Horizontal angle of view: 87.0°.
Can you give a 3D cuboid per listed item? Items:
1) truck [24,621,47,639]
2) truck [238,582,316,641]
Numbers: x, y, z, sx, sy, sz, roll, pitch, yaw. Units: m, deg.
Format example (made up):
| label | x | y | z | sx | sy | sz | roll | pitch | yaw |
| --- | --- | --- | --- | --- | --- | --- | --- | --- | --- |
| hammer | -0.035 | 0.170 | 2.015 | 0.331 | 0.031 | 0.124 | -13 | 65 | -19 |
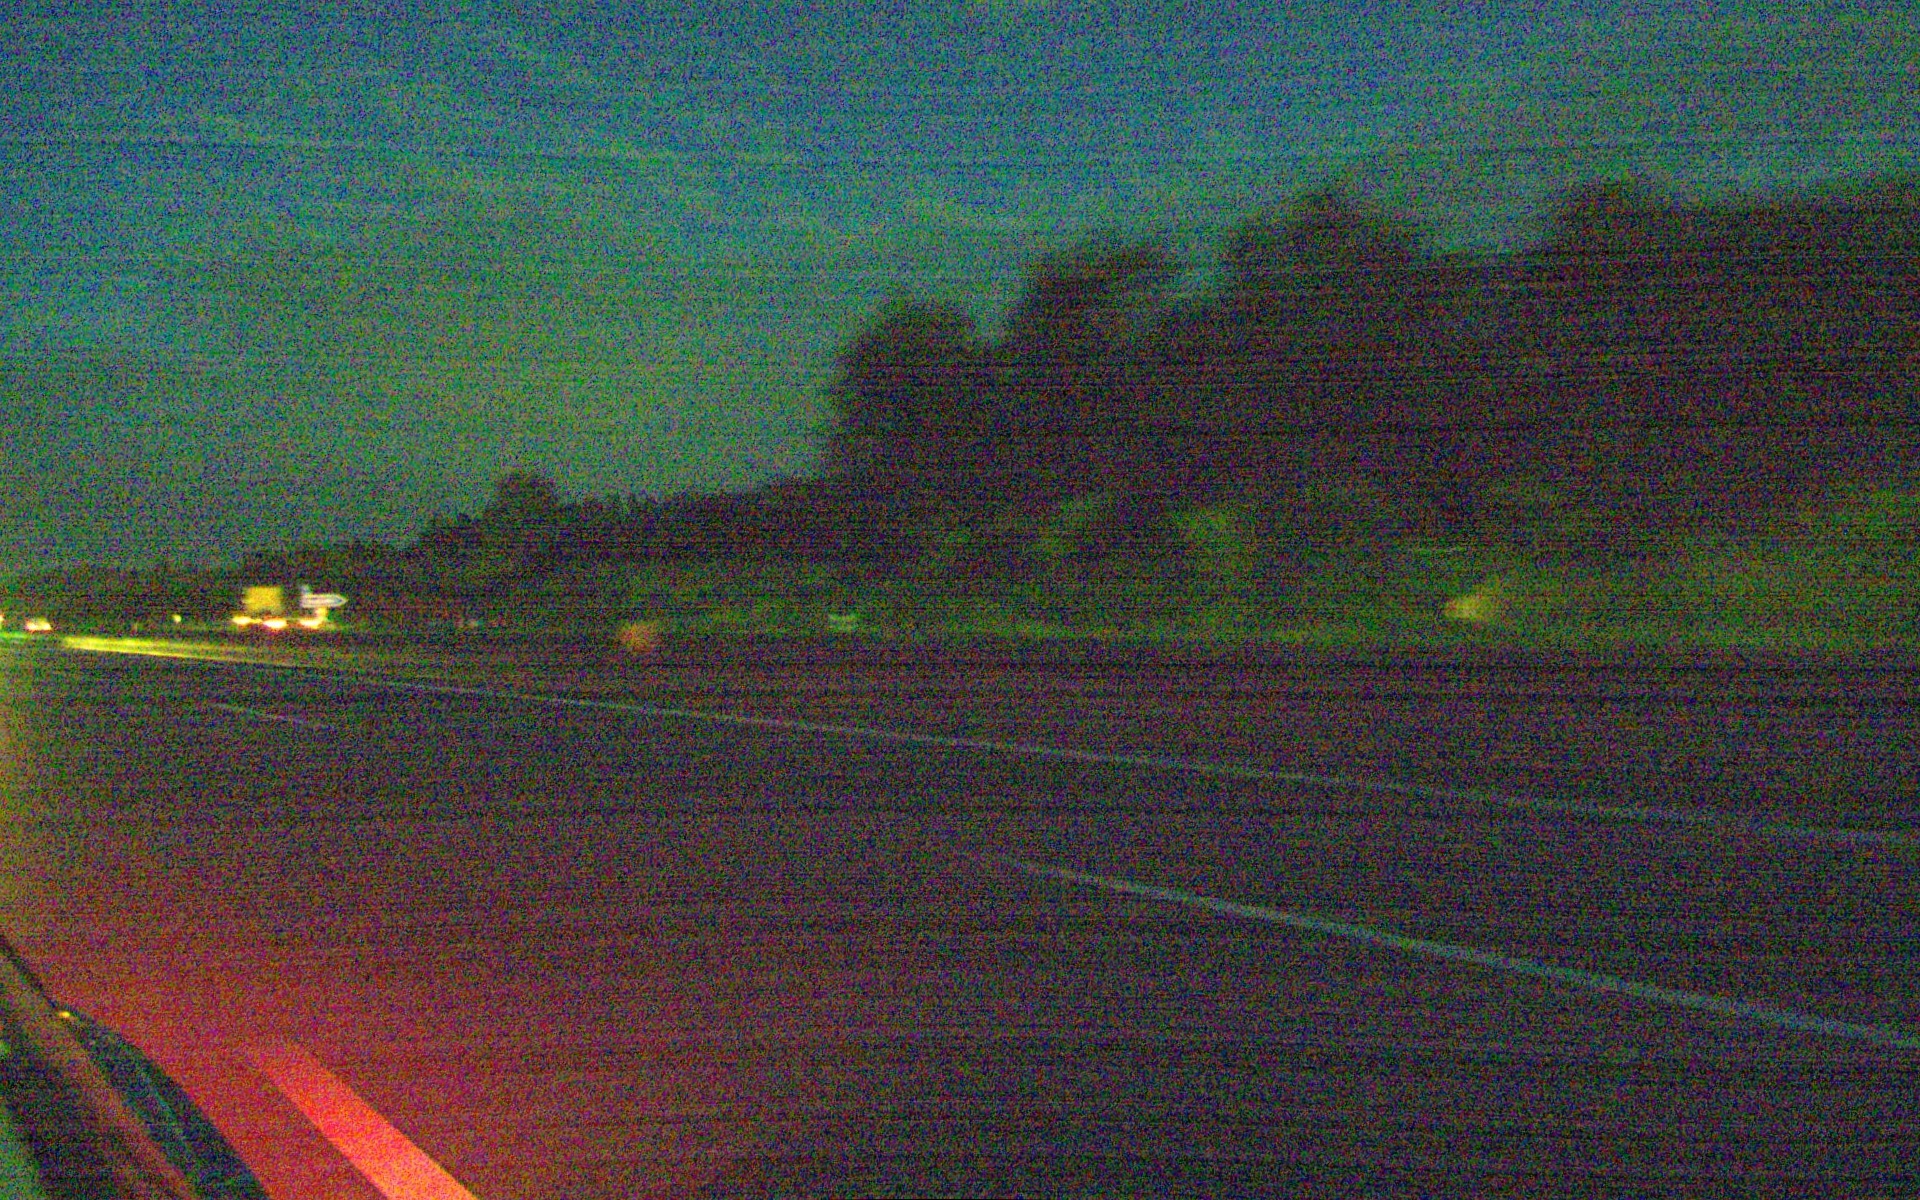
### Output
| label | x | y | z | sx | sy | sz | roll | pitch | yaw |
| --- | --- | --- | --- | --- | --- | --- | --- | --- | --- |
| truck | -158.347 | 5.132 | 173.386 | 7.623 | 2.746 | 2.173 | -3 | 2 | 43 |
| truck | -47.909 | 0.829 | 70.847 | 9.064 | 3.881 | 2.492 | -2 | 0 | 43 |
